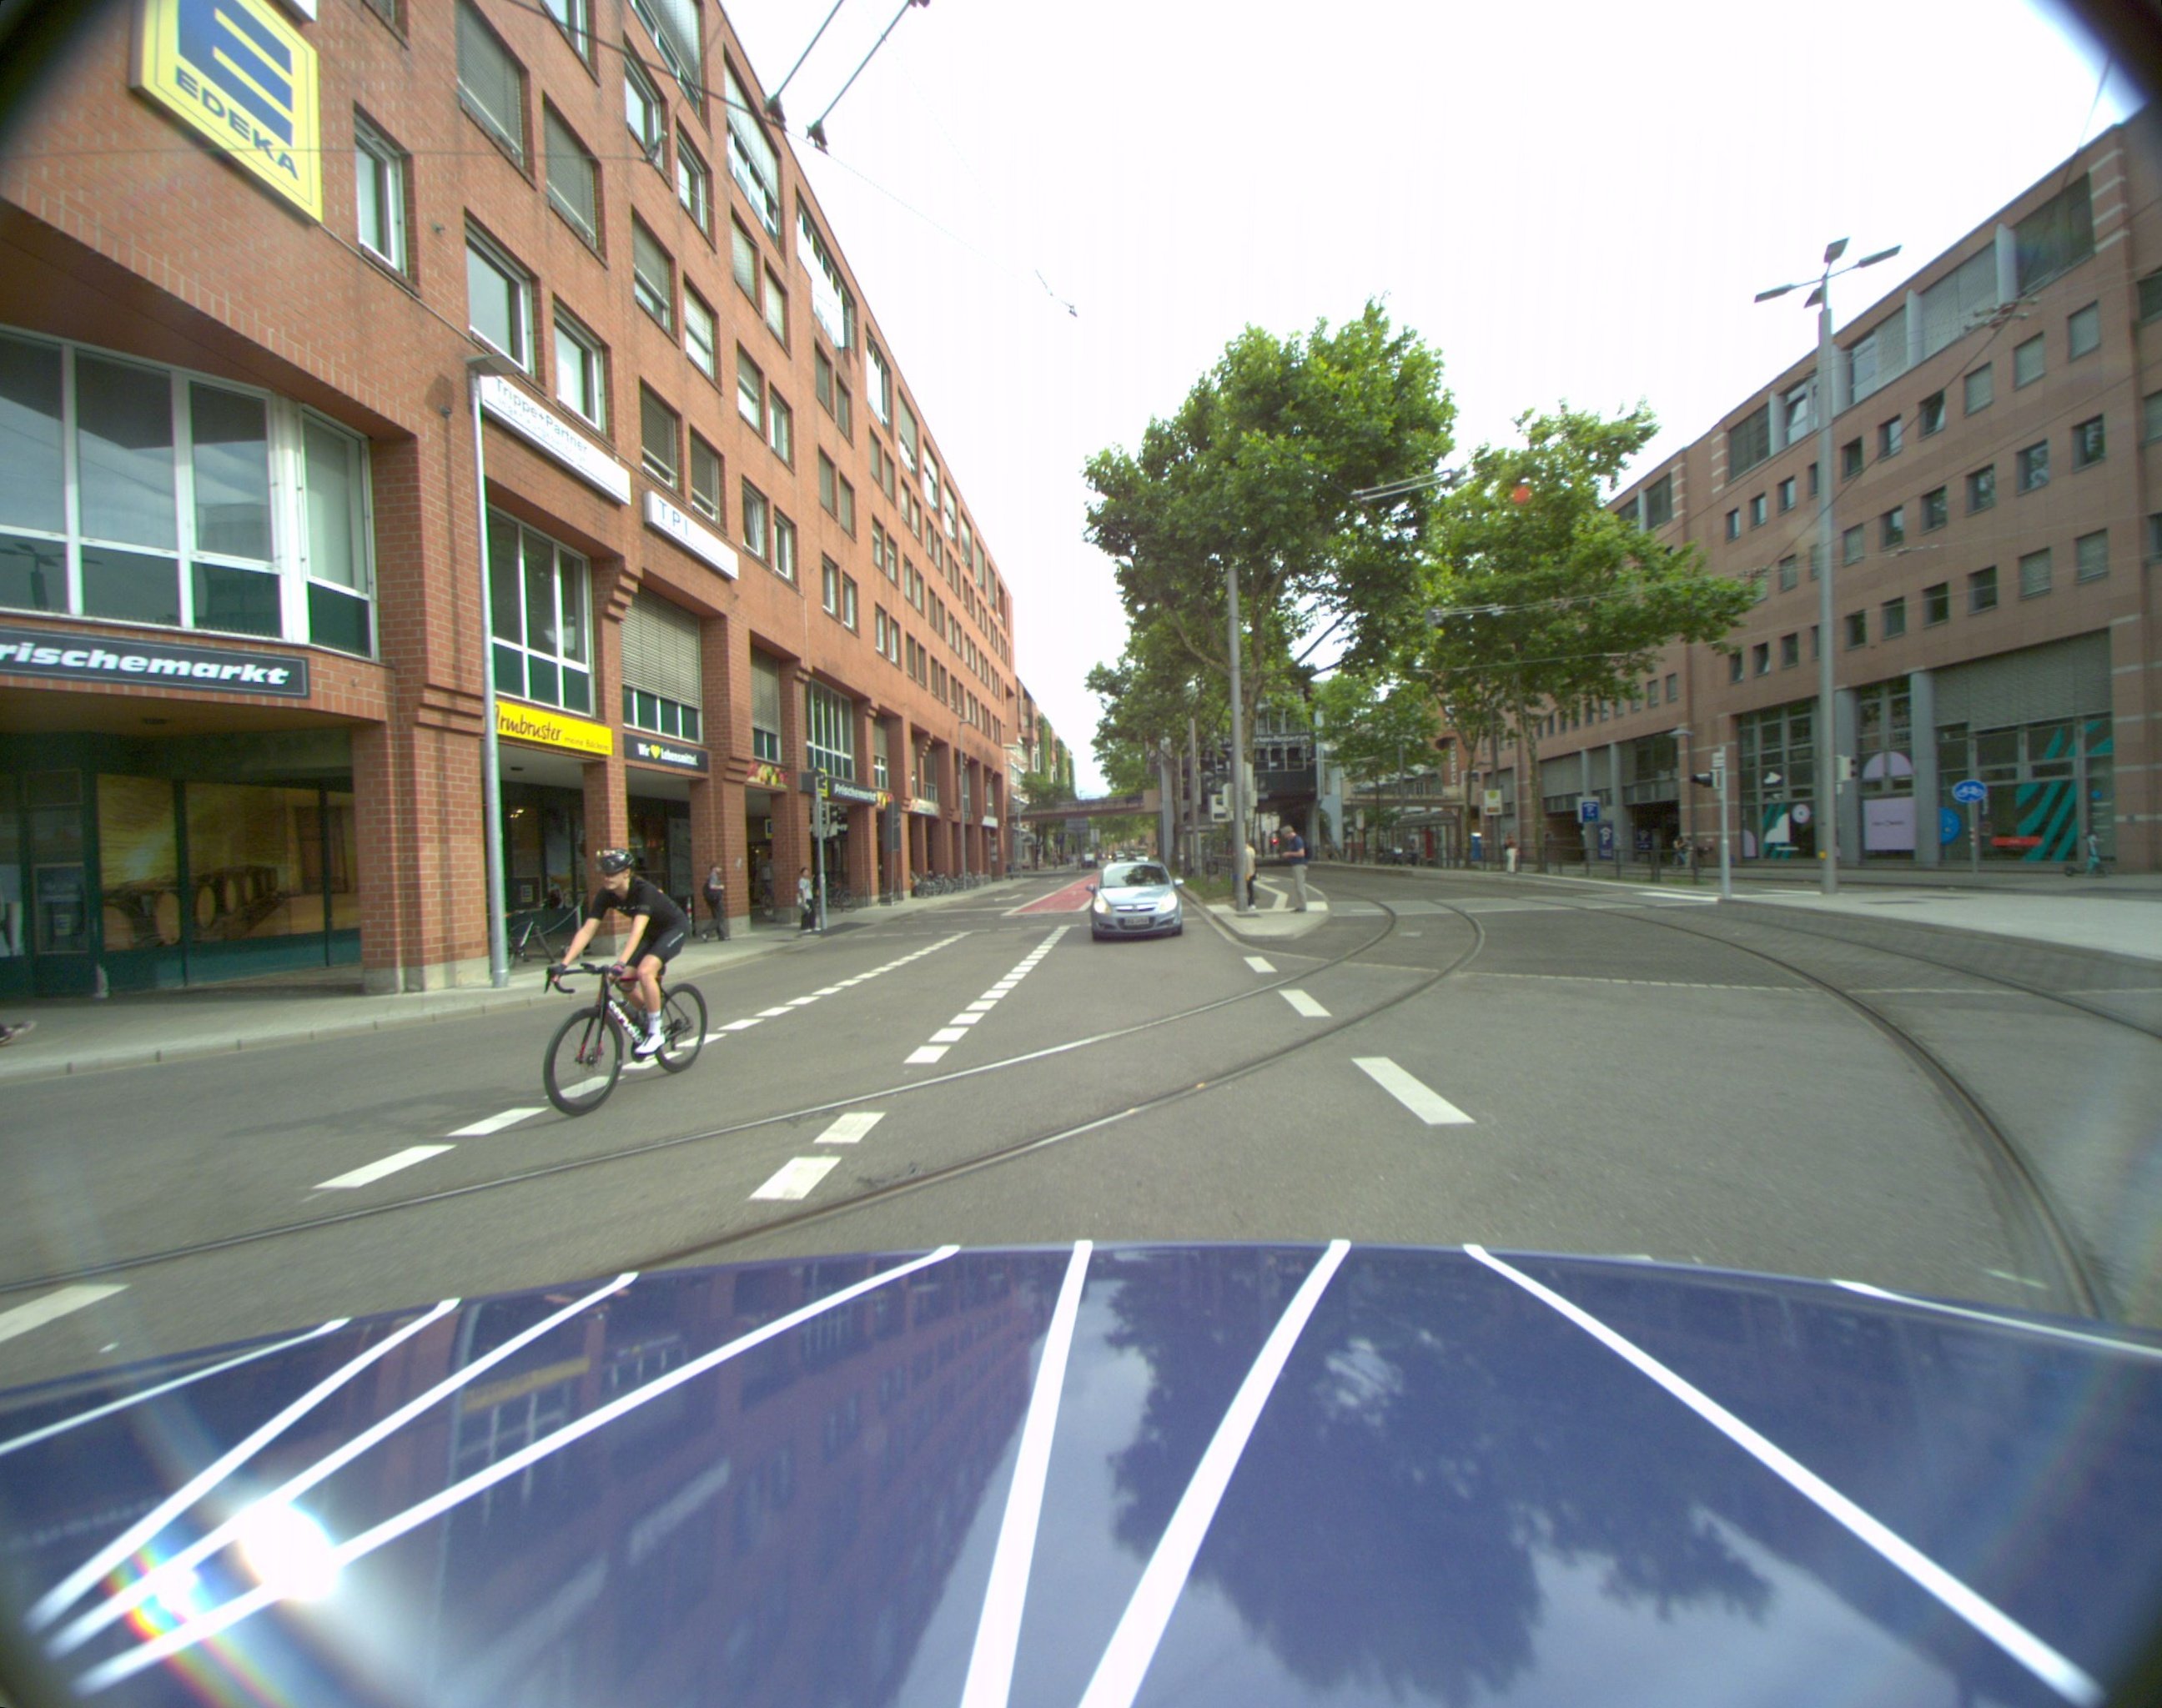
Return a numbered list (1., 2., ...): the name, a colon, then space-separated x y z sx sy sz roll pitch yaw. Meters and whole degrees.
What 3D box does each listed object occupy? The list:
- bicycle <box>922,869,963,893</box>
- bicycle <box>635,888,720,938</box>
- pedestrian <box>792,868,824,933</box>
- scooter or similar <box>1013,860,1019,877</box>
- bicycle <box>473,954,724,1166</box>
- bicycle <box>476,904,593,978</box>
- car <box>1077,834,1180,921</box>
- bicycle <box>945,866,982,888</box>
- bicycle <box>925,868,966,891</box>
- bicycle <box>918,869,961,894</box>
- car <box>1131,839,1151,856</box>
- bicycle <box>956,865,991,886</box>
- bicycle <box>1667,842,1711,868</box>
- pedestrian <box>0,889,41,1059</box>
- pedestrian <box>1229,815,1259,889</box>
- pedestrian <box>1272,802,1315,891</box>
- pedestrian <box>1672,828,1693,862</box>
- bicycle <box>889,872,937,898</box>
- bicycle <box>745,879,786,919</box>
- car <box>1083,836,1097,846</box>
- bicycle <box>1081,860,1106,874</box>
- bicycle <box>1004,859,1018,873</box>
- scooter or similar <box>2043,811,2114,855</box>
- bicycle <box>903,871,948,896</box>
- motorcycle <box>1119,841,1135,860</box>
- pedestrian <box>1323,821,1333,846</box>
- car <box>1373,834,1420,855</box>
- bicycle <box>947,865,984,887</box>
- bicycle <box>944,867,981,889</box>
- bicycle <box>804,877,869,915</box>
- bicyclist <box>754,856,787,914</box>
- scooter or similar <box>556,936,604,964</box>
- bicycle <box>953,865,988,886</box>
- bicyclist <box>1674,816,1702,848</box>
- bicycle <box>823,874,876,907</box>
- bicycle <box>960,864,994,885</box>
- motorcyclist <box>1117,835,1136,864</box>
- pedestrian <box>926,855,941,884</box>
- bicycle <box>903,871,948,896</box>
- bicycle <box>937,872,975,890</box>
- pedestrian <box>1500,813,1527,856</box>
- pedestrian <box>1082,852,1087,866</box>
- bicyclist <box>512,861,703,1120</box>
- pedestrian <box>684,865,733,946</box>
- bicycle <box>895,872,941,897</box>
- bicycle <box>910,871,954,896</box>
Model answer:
1. bicycle: -6.739 1.318 36.985 1.858 1.105 0.534 -2 1 5
2. bicycle: -9.881 1.417 18.667 0.628 1.078 1.753 3 2 30
3. pedestrian: -7.008 1.187 19.509 0.407 1.622 0.732 -1 1 12
4. scooter or similar: -4.738 1.061 55.374 0.272 1.250 0.921 -2 1 5
5. bicycle: -3.207 1.312 5.276 0.488 0.994 1.748 -2 0 4
6. bicycle: -9.199 1.436 12.874 0.566 1.085 1.700 0 -1 9
7. car: 0.926 0.362 15.411 1.723 1.395 3.999 -4 2 3
8. bicycle: -6.407 1.231 41.421 1.858 1.134 0.534 -2 1 5
9. bicycle: -6.734 1.262 37.784 1.858 1.105 0.534 -2 1 5
10. bicycle: -6.748 1.303 36.261 1.858 1.105 0.534 -2 1 5
11. car: 6.229 -0.661 79.176 1.956 1.592 4.001 -2 1 5
12. bicycle: -6.191 1.213 43.810 1.858 1.134 0.534 -2 1 5
13. bicycle: 26.829 0.028 33.555 0.547 1.111 1.588 -2 1 -8
14. pedestrian: -10.550 1.157 6.979 0.620 1.591 0.922 -2 1 5
15. pedestrian: 4.036 -0.046 18.815 0.534 1.781 0.578 -2 1 25
16. pedestrian: 4.607 -0.156 16.538 0.693 1.864 0.807 -2 1 5
17. pedestrian: 28.162 -0.428 35.580 0.528 1.564 0.601 -2 1 5
18. bicycle: -7.117 1.310 32.165 1.858 1.034 0.508 -2 1 5
19. bicycle: -9.630 1.360 23.241 0.629 1.078 1.749 2 1 -4
20. car: 1.450 -2.065 121.579 1.956 1.592 4.001 -2 1 5
21. bicycle: 1.334 1.375 81.154 2.583 1.430 0.769 -2 1 6
22. bicycle: -6.985 1.194 75.902 0.746 1.382 2.981 -2 0 5
23. scooter or similar: 27.304 -0.563 20.821 0.520 1.126 1.112 -2 0 5
24. bicycle: -6.847 1.305 33.479 1.858 1.034 0.534 -2 1 5
25. motorcycle: 2.494 -0.178 41.634 0.570 0.962 2.013 -3 0 -4
26. pedestrian: 17.642 -1.429 54.301 0.482 1.761 0.481 -3 1 -2
27. car: 23.100 -0.685 55.841 1.867 1.464 4.297 -2 0 4
28. bicycle: -6.378 1.236 41.988 1.858 1.134 0.534 -2 1 5
29. bicycle: -6.348 1.286 40.753 1.858 1.134 0.534 -2 1 5
30. bicycle: -7.827 1.328 24.366 0.628 1.078 1.868 0 1 44
31. bicyclist: -9.613 0.943 23.538 0.619 1.769 0.767 2 2 44
32. scooter or similar: -9.421 1.803 14.306 0.263 0.416 0.892 -2 0 3
33. bicycle: -6.280 1.222 43.254 1.858 1.134 0.534 -2 1 5
34. bicyclist: 26.794 -0.943 33.540 0.552 1.373 0.737 -2 1 -7
35. bicycle: -8.549 1.333 28.140 0.483 1.078 1.868 0 2 44
36. bicycle: -6.128 1.206 44.683 1.858 1.134 0.534 -2 1 5
37. motorcyclist: 2.488 -0.231 41.641 0.872 1.508 1.043 -3 1 -5
38. pedestrian: -9.072 0.948 46.645 0.614 1.766 0.781 -2 1 5
39. bicycle: -6.989 1.327 34.177 1.858 1.034 0.534 -2 1 5
40. bicycle: -6.516 1.416 39.700 1.858 0.888 0.534 -2 1 5
41. pedestrian: 15.832 -0.734 27.836 0.658 1.529 0.558 -3 3 1
42. pedestrian: 0.398 0.606 87.881 0.515 1.645 0.612 -2 1 5
43. bicyclist: -3.213 0.873 5.240 0.613 1.594 0.847 -4 1 4
44. pedestrian: -8.019 1.090 16.380 0.647 1.686 0.698 -1 1 2
45. bicycle: -7.039 1.310 32.819 1.858 1.034 0.534 -2 1 5
46. bicycle: -6.927 1.365 35.372 1.858 1.105 0.534 -2 1 5
